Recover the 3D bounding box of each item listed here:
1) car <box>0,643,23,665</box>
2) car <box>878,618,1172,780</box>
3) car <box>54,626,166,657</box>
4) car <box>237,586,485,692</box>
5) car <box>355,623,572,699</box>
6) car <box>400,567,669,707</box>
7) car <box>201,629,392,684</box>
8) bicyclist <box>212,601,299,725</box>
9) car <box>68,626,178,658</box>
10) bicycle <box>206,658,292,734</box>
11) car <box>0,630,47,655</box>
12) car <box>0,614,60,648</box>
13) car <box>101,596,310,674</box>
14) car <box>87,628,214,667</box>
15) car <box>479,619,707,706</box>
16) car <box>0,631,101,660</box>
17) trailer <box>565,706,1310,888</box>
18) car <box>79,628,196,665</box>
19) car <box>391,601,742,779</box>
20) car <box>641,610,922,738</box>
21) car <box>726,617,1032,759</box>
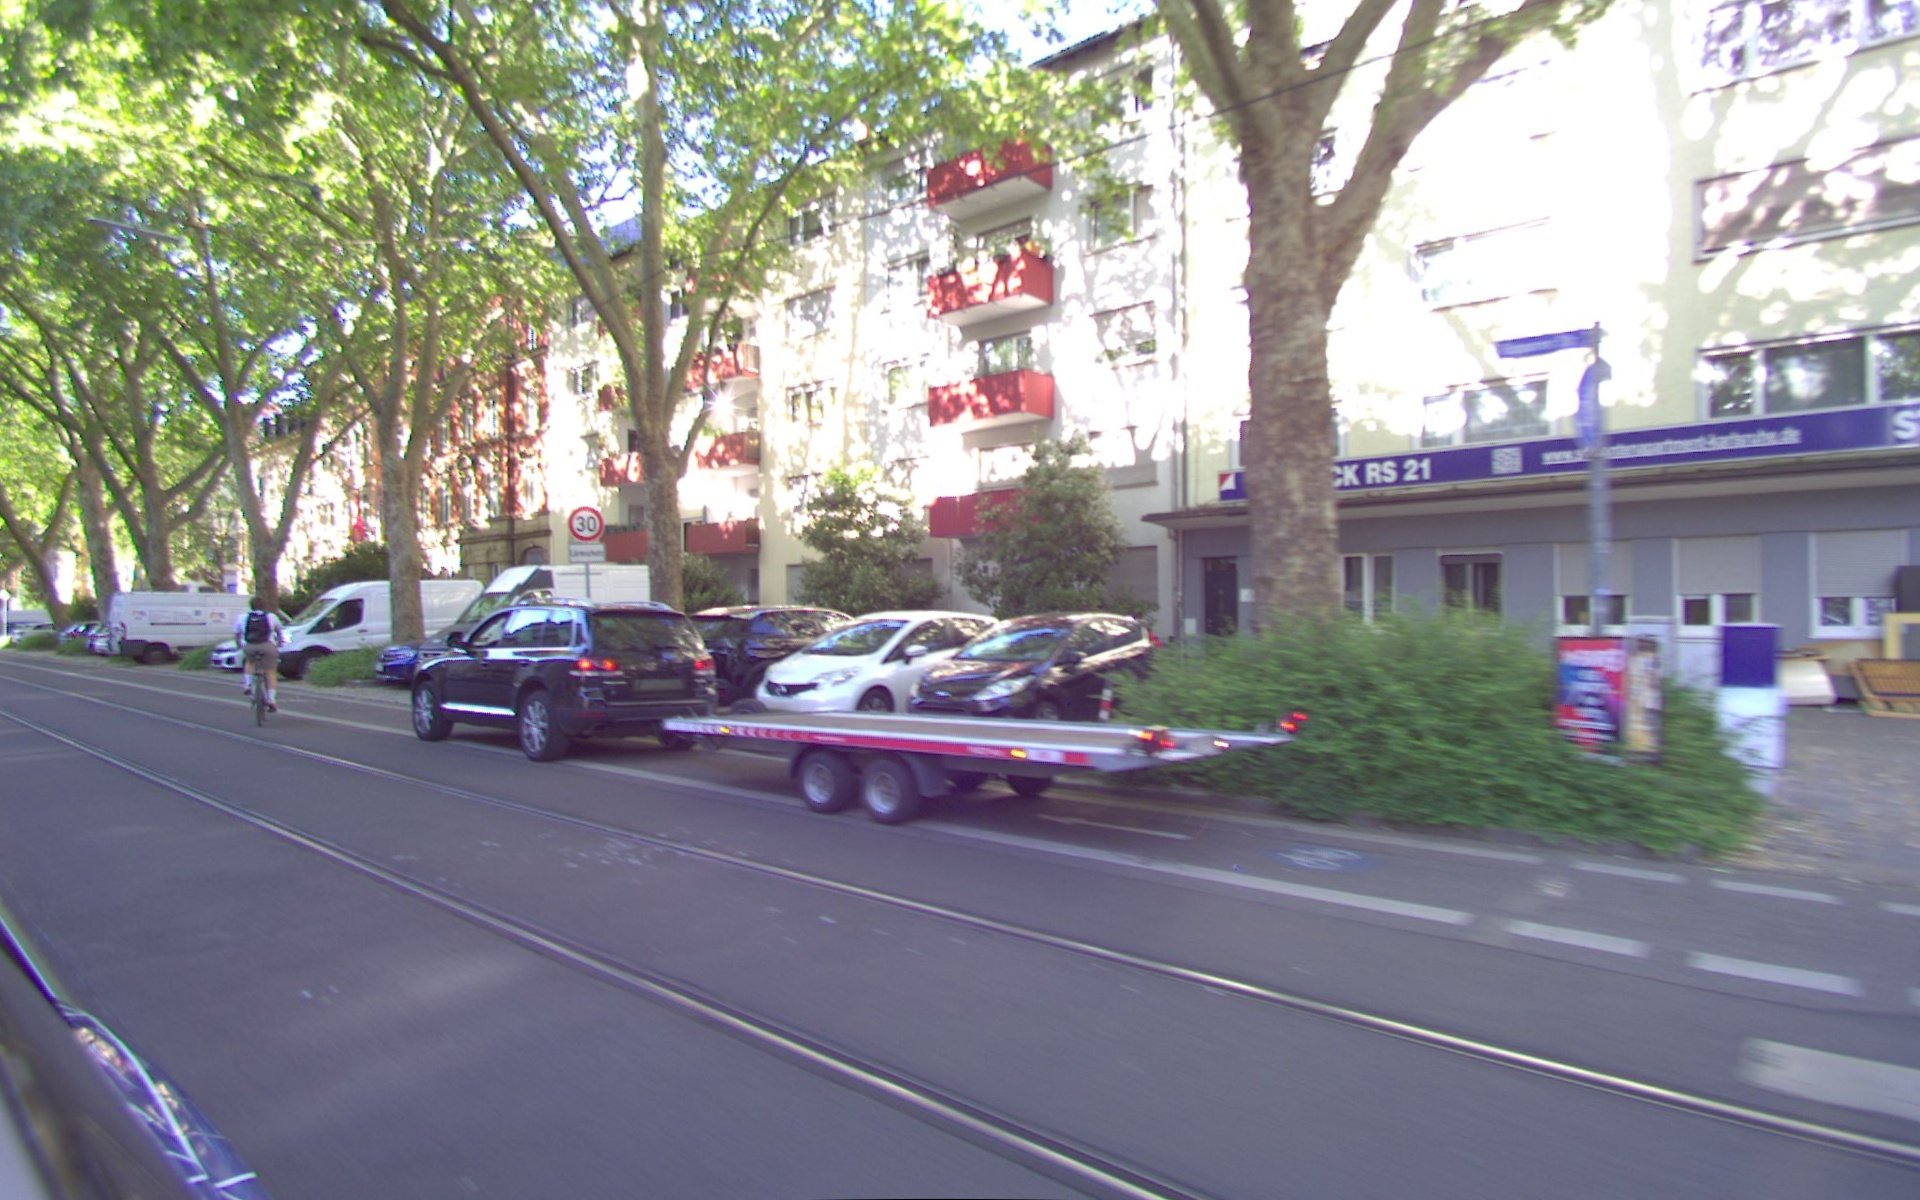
[{"bbox_3d":[-69.337,3.861,71.992,1.745,1.529,3.734,-2,-1,37],"label":"car"},{"bbox_3d":[0.867,1.002,11.638,1.784,1.542,3.398,-2,-2,37],"label":"car"},{"bbox_3d":[-42.379,2.042,50.563,1.764,1.471,3.958,-2,-1,31],"label":"car"},{"bbox_3d":[-15.662,0.964,26.741,2.055,2.496,5.305,-2,-2,40],"label":"car"},{"bbox_3d":[-11.075,1.294,22.763,1.871,1.477,3.977,-2,-1,41],"label":"car"},{"bbox_3d":[-8.815,0.732,21.391,2.078,2.587,4.899,-2,-1,36],"label":"car"},{"bbox_3d":[-19.440,1.598,29.808,1.932,1.395,4.365,-2,-1,40],"label":"car"},{"bbox_3d":[-10.024,0.869,14.399,0.956,1.690,0.777,-2,-2,38],"label":"bicyclist"},{"bbox_3d":[-40.470,2.006,48.992,1.704,1.471,3.944,-2,-2,42],"label":"car"},{"bbox_3d":[-10.091,1.332,14.347,1.927,0.969,0.515,-2,-2,40],"label":"bicycle"},{"bbox_3d":[-66.702,2.961,70.568,1.814,1.725,4.279,-2,-1,37],"label":"car"},{"bbox_3d":[-73.159,2.467,77.147,1.999,2.426,6.535,-3,0,40],"label":"car"},{"bbox_3d":[-26.862,1.173,36.226,2.161,2.555,5.682,-2,-1,40],"label":"car"},{"bbox_3d":[-33.947,1.956,42.512,1.829,1.507,3.945,-2,-2,41],"label":"car"},{"bbox_3d":[-7.088,1.146,19.832,1.858,1.489,3.816,-2,-2,39],"label":"car"},{"bbox_3d":[-50.169,2.480,55.846,1.877,1.471,3.947,-2,-1,39],"label":"car"},{"bbox_3d":[-0.625,1.384,8.447,6.393,0.637,2.139,-2,-3,39],"label":"trailer"},{"bbox_3d":[-35.888,2.004,44.204,1.703,1.471,3.754,-2,-1,41],"label":"car"},{"bbox_3d":[-4.772,0.953,11.981,4.481,1.713,1.973,-2,-3,41],"label":"car"},{"bbox_3d":[-2.579,0.998,15.364,1.892,1.660,3.948,-2,-1,39],"label":"car"},{"bbox_3d":[-0.919,1.010,13.263,1.769,1.533,3.948,-2,-1,39],"label":"car"}]
